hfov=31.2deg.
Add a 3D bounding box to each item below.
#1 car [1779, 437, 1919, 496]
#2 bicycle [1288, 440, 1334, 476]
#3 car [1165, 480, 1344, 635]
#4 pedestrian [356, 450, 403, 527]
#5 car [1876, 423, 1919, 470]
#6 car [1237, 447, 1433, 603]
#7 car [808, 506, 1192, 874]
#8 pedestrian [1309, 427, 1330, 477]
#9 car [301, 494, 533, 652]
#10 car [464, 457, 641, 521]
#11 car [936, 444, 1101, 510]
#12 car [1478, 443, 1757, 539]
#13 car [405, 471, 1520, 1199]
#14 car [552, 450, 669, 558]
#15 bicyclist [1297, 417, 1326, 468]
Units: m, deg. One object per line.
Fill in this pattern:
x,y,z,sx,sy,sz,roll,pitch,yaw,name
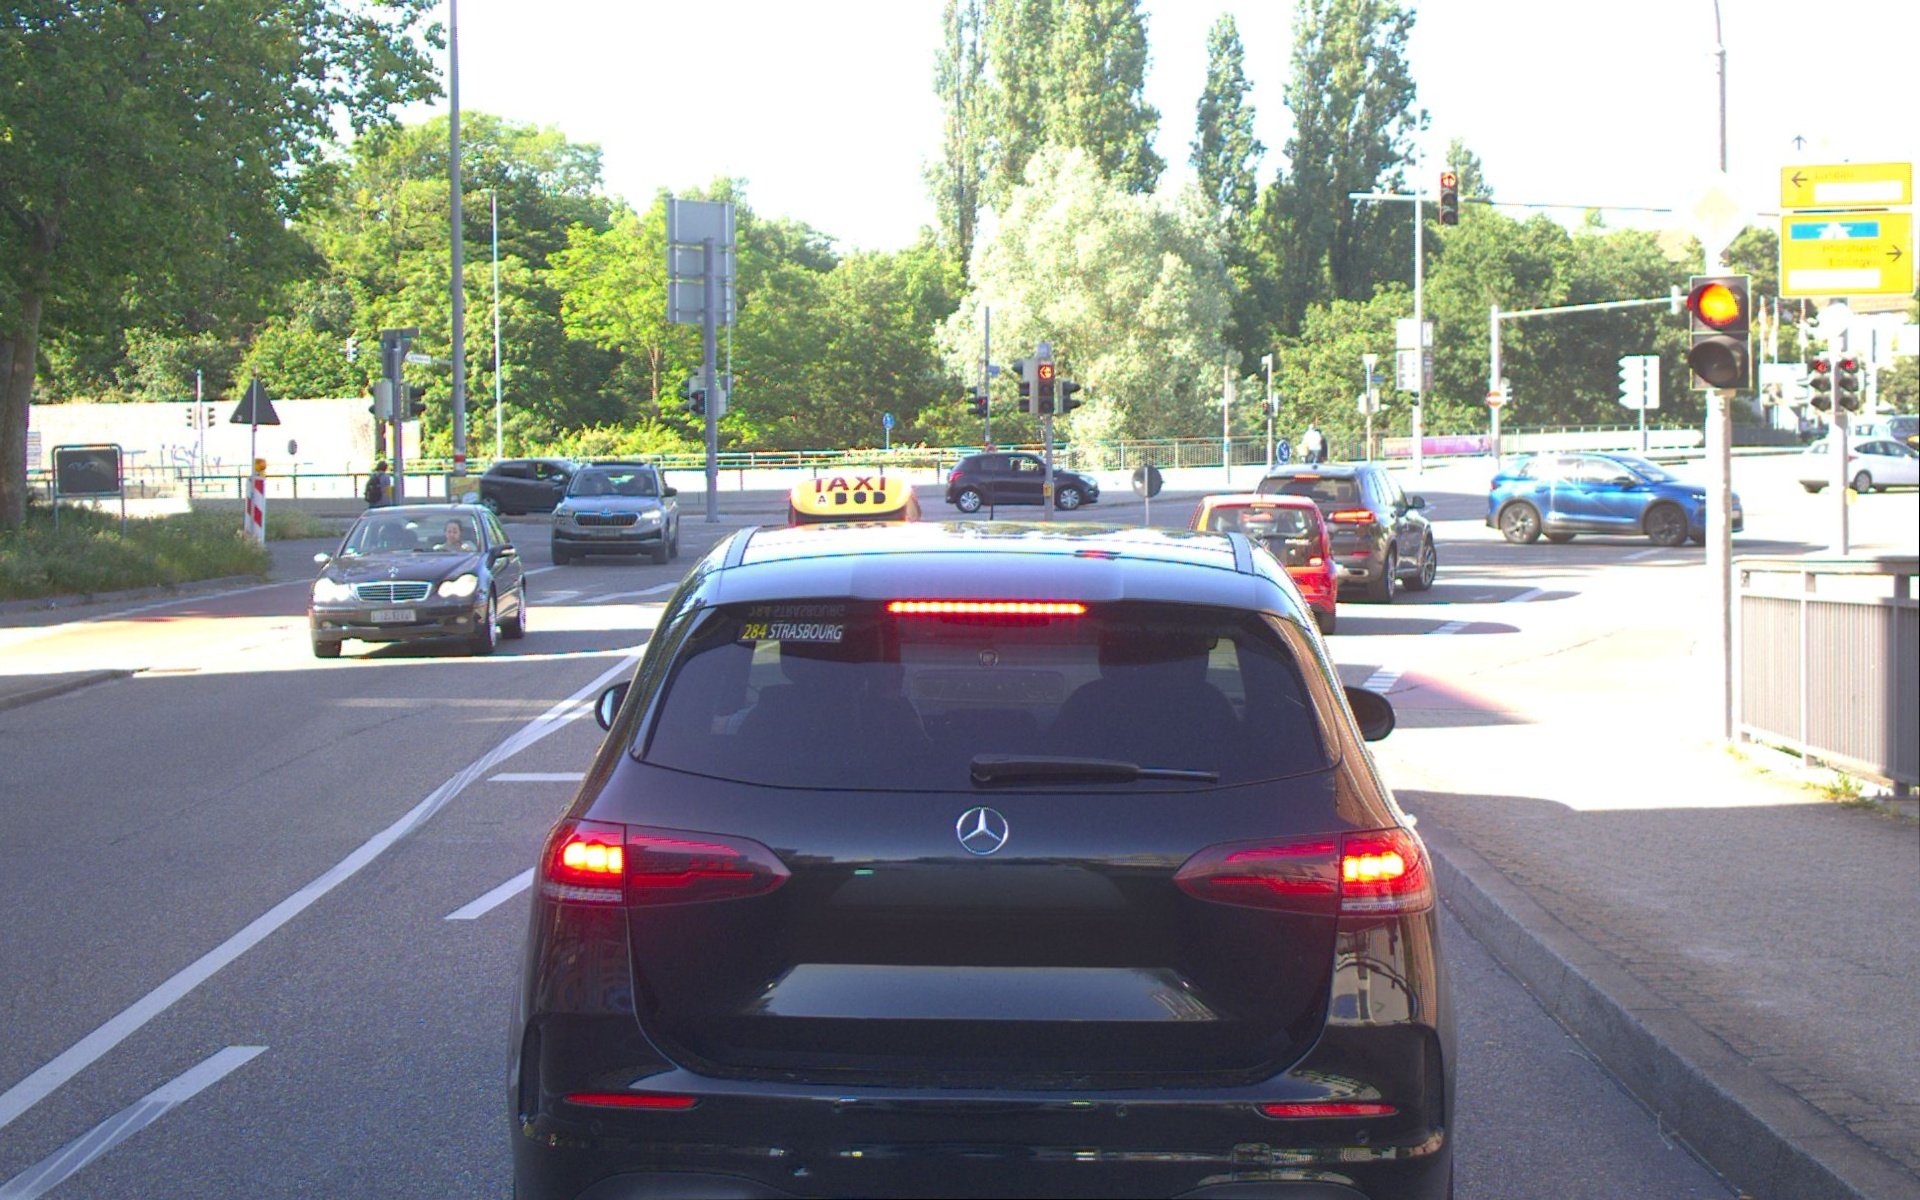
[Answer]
23.233,-3.451,88.203,4.301,1.360,2.000,-4,4,-36,car
10.650,-4.303,104.295,0.526,1.046,1.986,0,3,33,bicycle
3.218,-0.514,38.109,1.721,1.516,3.487,0,4,1,car
-11.480,-2.203,67.991,0.705,1.520,0.743,1,2,10,pedestrian
33.553,-5.368,119.821,1.882,1.573,3.992,1,3,36,car
4.960,-1.021,44.998,1.723,1.805,4.295,0,4,17,car
0.224,0.348,16.729,1.640,1.524,3.474,-1,2,2,car
11.471,-4.722,109.658,0.451,1.580,0.500,1,3,40,pedestrian
-5.359,-0.319,34.385,1.741,1.402,4.202,-1,3,-2,car
-9.767,-2.649,82.604,3.987,1.492,1.744,0,1,3,car
1.423,-3.041,85.263,3.986,1.542,1.891,1,0,-2,car
11.495,-1.940,60.229,4.398,1.586,1.918,2,4,36,car
-0.022,0.543,7.842,1.878,1.608,4.000,1,2,-1,car
-5.677,-1.583,55.625,1.803,1.617,4.002,0,3,-6,car
10.648,-4.779,104.266,0.526,1.545,0.805,0,3,33,bicyclist
